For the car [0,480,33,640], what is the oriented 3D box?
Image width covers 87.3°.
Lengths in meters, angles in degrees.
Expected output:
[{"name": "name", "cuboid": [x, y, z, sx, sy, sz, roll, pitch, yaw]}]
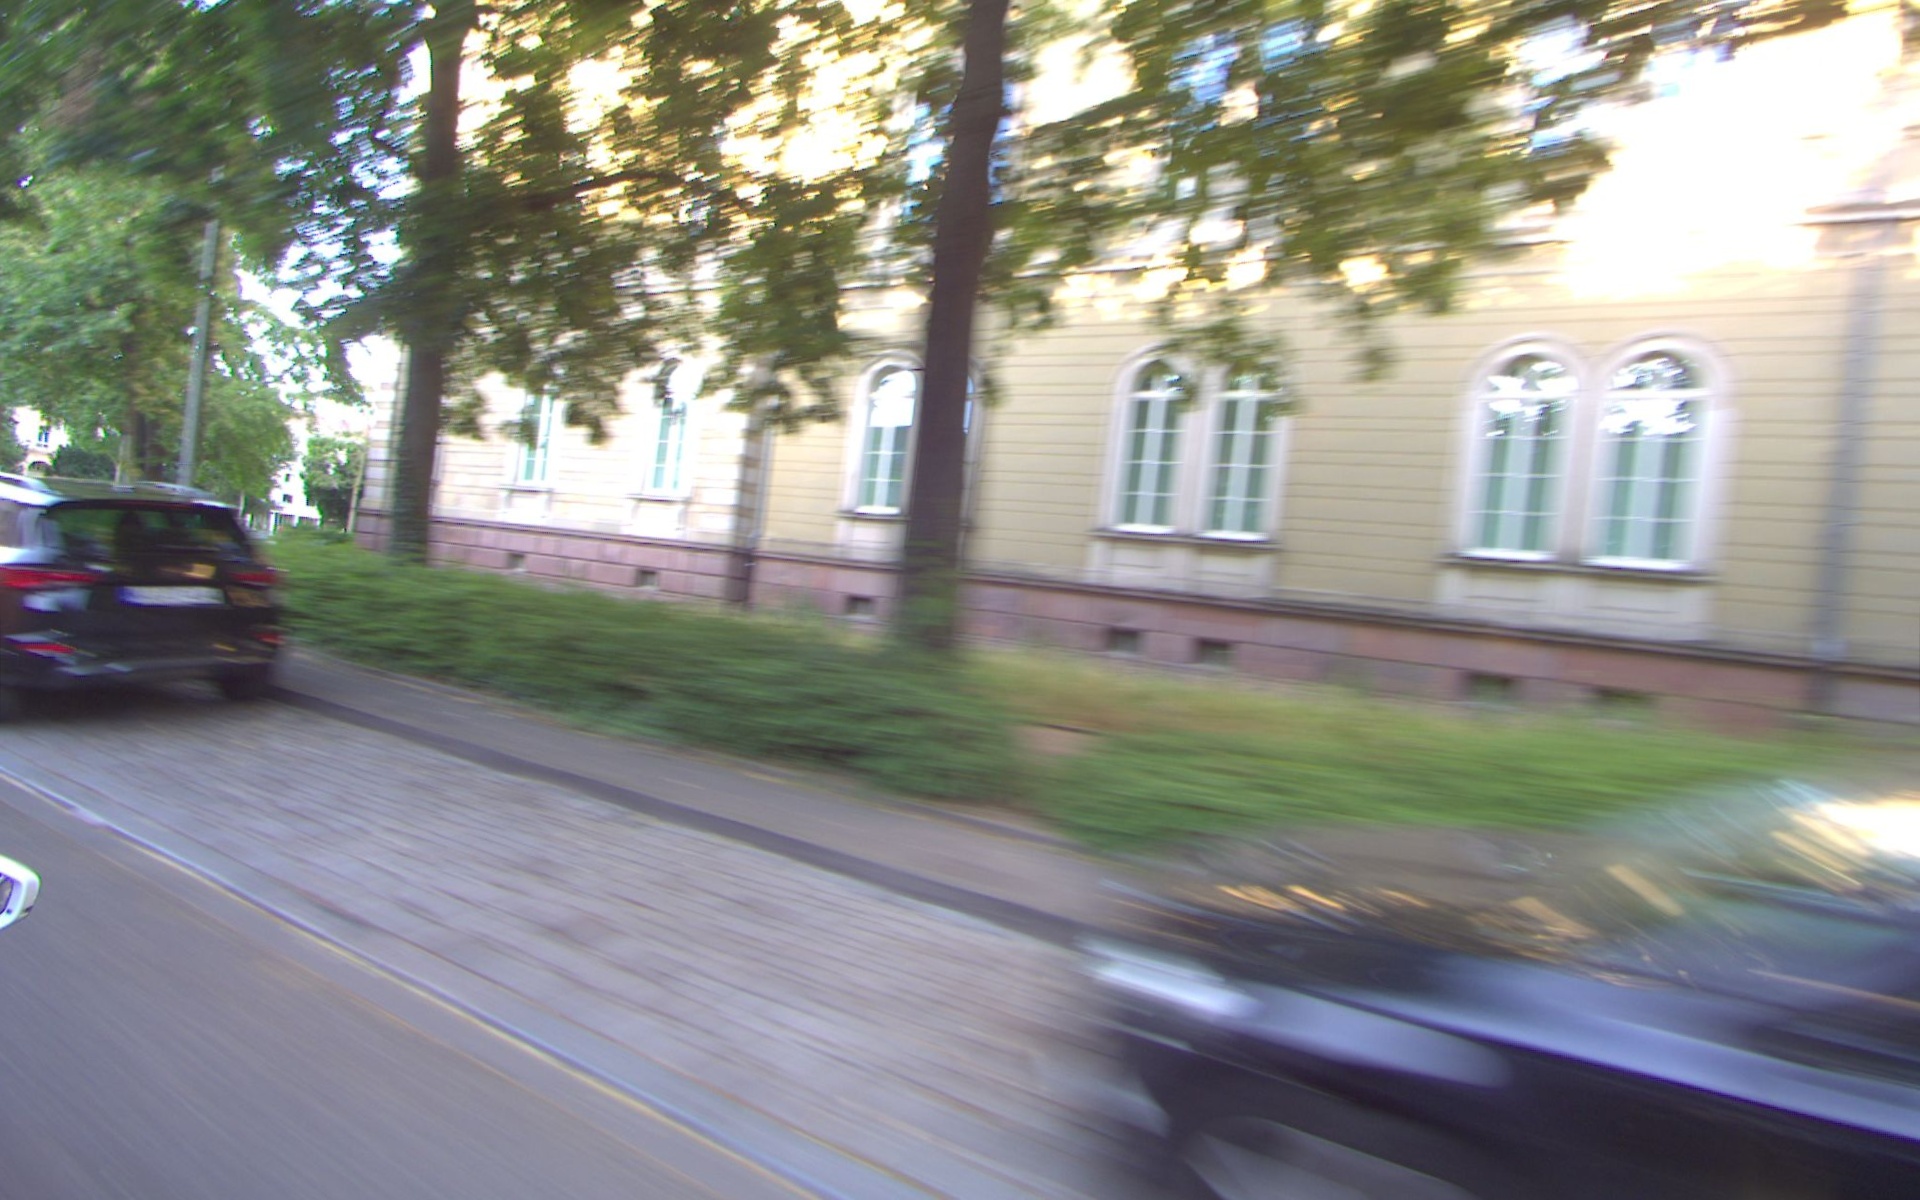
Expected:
[{"name": "car", "cuboid": [-11.497, -0.612, 10.328, 4.119, 1.557, 1.726, 6, 0, 31]}]

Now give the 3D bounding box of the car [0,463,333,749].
[{"name": "car", "cuboid": [-7.022, -0.174, 7.845, 4.344, 1.674, 1.806, 7, 4, 31]}]

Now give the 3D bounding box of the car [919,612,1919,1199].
[{"name": "car", "cuboid": [2.302, 1.041, 2.088, 4.446, 1.525, 1.737, 6, 0, 31]}]
